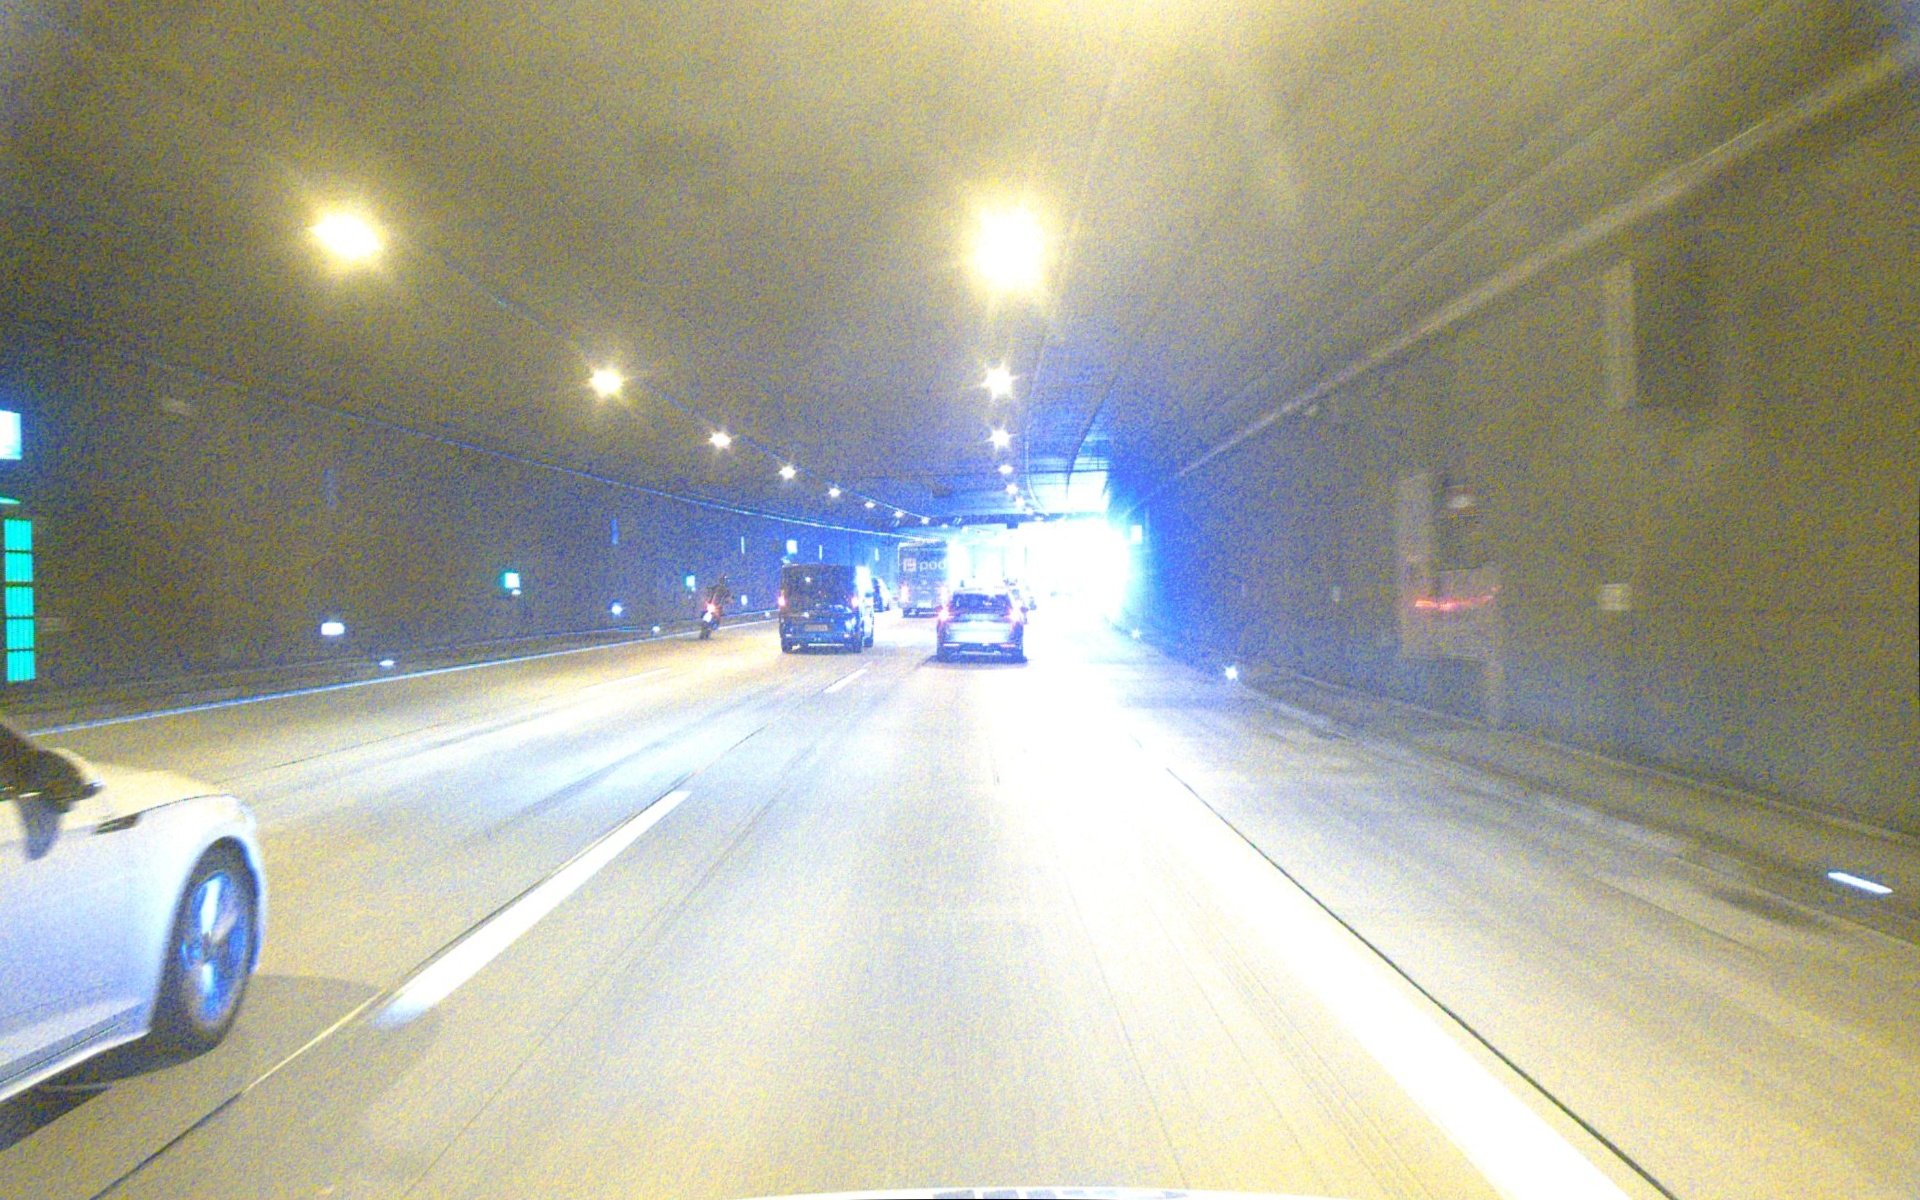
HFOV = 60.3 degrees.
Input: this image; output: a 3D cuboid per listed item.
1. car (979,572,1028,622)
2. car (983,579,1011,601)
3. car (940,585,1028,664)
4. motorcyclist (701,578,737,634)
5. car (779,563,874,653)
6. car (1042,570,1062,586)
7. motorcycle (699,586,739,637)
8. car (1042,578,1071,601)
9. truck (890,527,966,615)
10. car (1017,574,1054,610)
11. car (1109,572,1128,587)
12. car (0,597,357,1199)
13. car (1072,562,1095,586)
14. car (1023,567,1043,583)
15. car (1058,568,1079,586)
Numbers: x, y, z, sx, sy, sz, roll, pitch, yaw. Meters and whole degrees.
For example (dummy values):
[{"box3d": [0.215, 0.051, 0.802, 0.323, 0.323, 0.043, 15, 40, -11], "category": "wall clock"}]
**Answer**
[{"box3d": [1.715, -0.122, 64.002, 1.818, 1.887, 4.001, 0, 0, 2], "category": "car"}, {"box3d": [2.884, -0.748, 128.168, 1.951, 1.660, 4.002, 1, -1, 4], "category": "car"}, {"box3d": [0.493, 0.464, 34.288, 1.706, 1.489, 3.872, 0, 1, 1], "category": "car"}, {"box3d": [-6.526, 0.169, 44.832, 0.761, 1.478, 1.069, 1, -2, 2], "category": "motorcyclist"}, {"box3d": [-3.036, 0.139, 38.239, 1.870, 1.978, 3.871, 0, 1, 0], "category": "car"}, {"box3d": [10.713, -2.568, 192.762, 1.889, 1.671, 4.003, 0, -2, 9], "category": "car"}, {"box3d": [-6.527, 0.327, 44.840, 0.668, 1.320, 2.399, 0, -1, 1], "category": "motorcycle"}, {"box3d": [7.445, -0.795, 128.145, 1.891, 1.671, 3.998, 1, -1, -2], "category": "car"}, {"box3d": [-1.366, -1.239, 74.068, 2.976, 3.737, 7.395, 0, 0, 2], "category": "truck"}, {"box3d": [4.011, -0.394, 88.070, 1.909, 1.803, 4.000, 1, -1, 2], "category": "car"}, {"box3d": [17.919, -2.312, 186.883, 1.889, 1.671, 4.003, 0, 0, 7], "category": "car"}, {"box3d": [-3.091, 0.724, 3.790, 1.668, 1.444, 5.058, 0, 0, -1], "category": "car"}, {"box3d": [11.617, -2.456, 155.691, 1.952, 2.049, 4.000, 1, -2, 2], "category": "car"}, {"box3d": [7.602, -2.575, 172.247, 1.889, 1.671, 4.003, 0, 0, 6], "category": "car"}, {"box3d": [11.467, -2.396, 174.093, 1.951, 1.660, 4.003, 0, -2, 8], "category": "car"}]
